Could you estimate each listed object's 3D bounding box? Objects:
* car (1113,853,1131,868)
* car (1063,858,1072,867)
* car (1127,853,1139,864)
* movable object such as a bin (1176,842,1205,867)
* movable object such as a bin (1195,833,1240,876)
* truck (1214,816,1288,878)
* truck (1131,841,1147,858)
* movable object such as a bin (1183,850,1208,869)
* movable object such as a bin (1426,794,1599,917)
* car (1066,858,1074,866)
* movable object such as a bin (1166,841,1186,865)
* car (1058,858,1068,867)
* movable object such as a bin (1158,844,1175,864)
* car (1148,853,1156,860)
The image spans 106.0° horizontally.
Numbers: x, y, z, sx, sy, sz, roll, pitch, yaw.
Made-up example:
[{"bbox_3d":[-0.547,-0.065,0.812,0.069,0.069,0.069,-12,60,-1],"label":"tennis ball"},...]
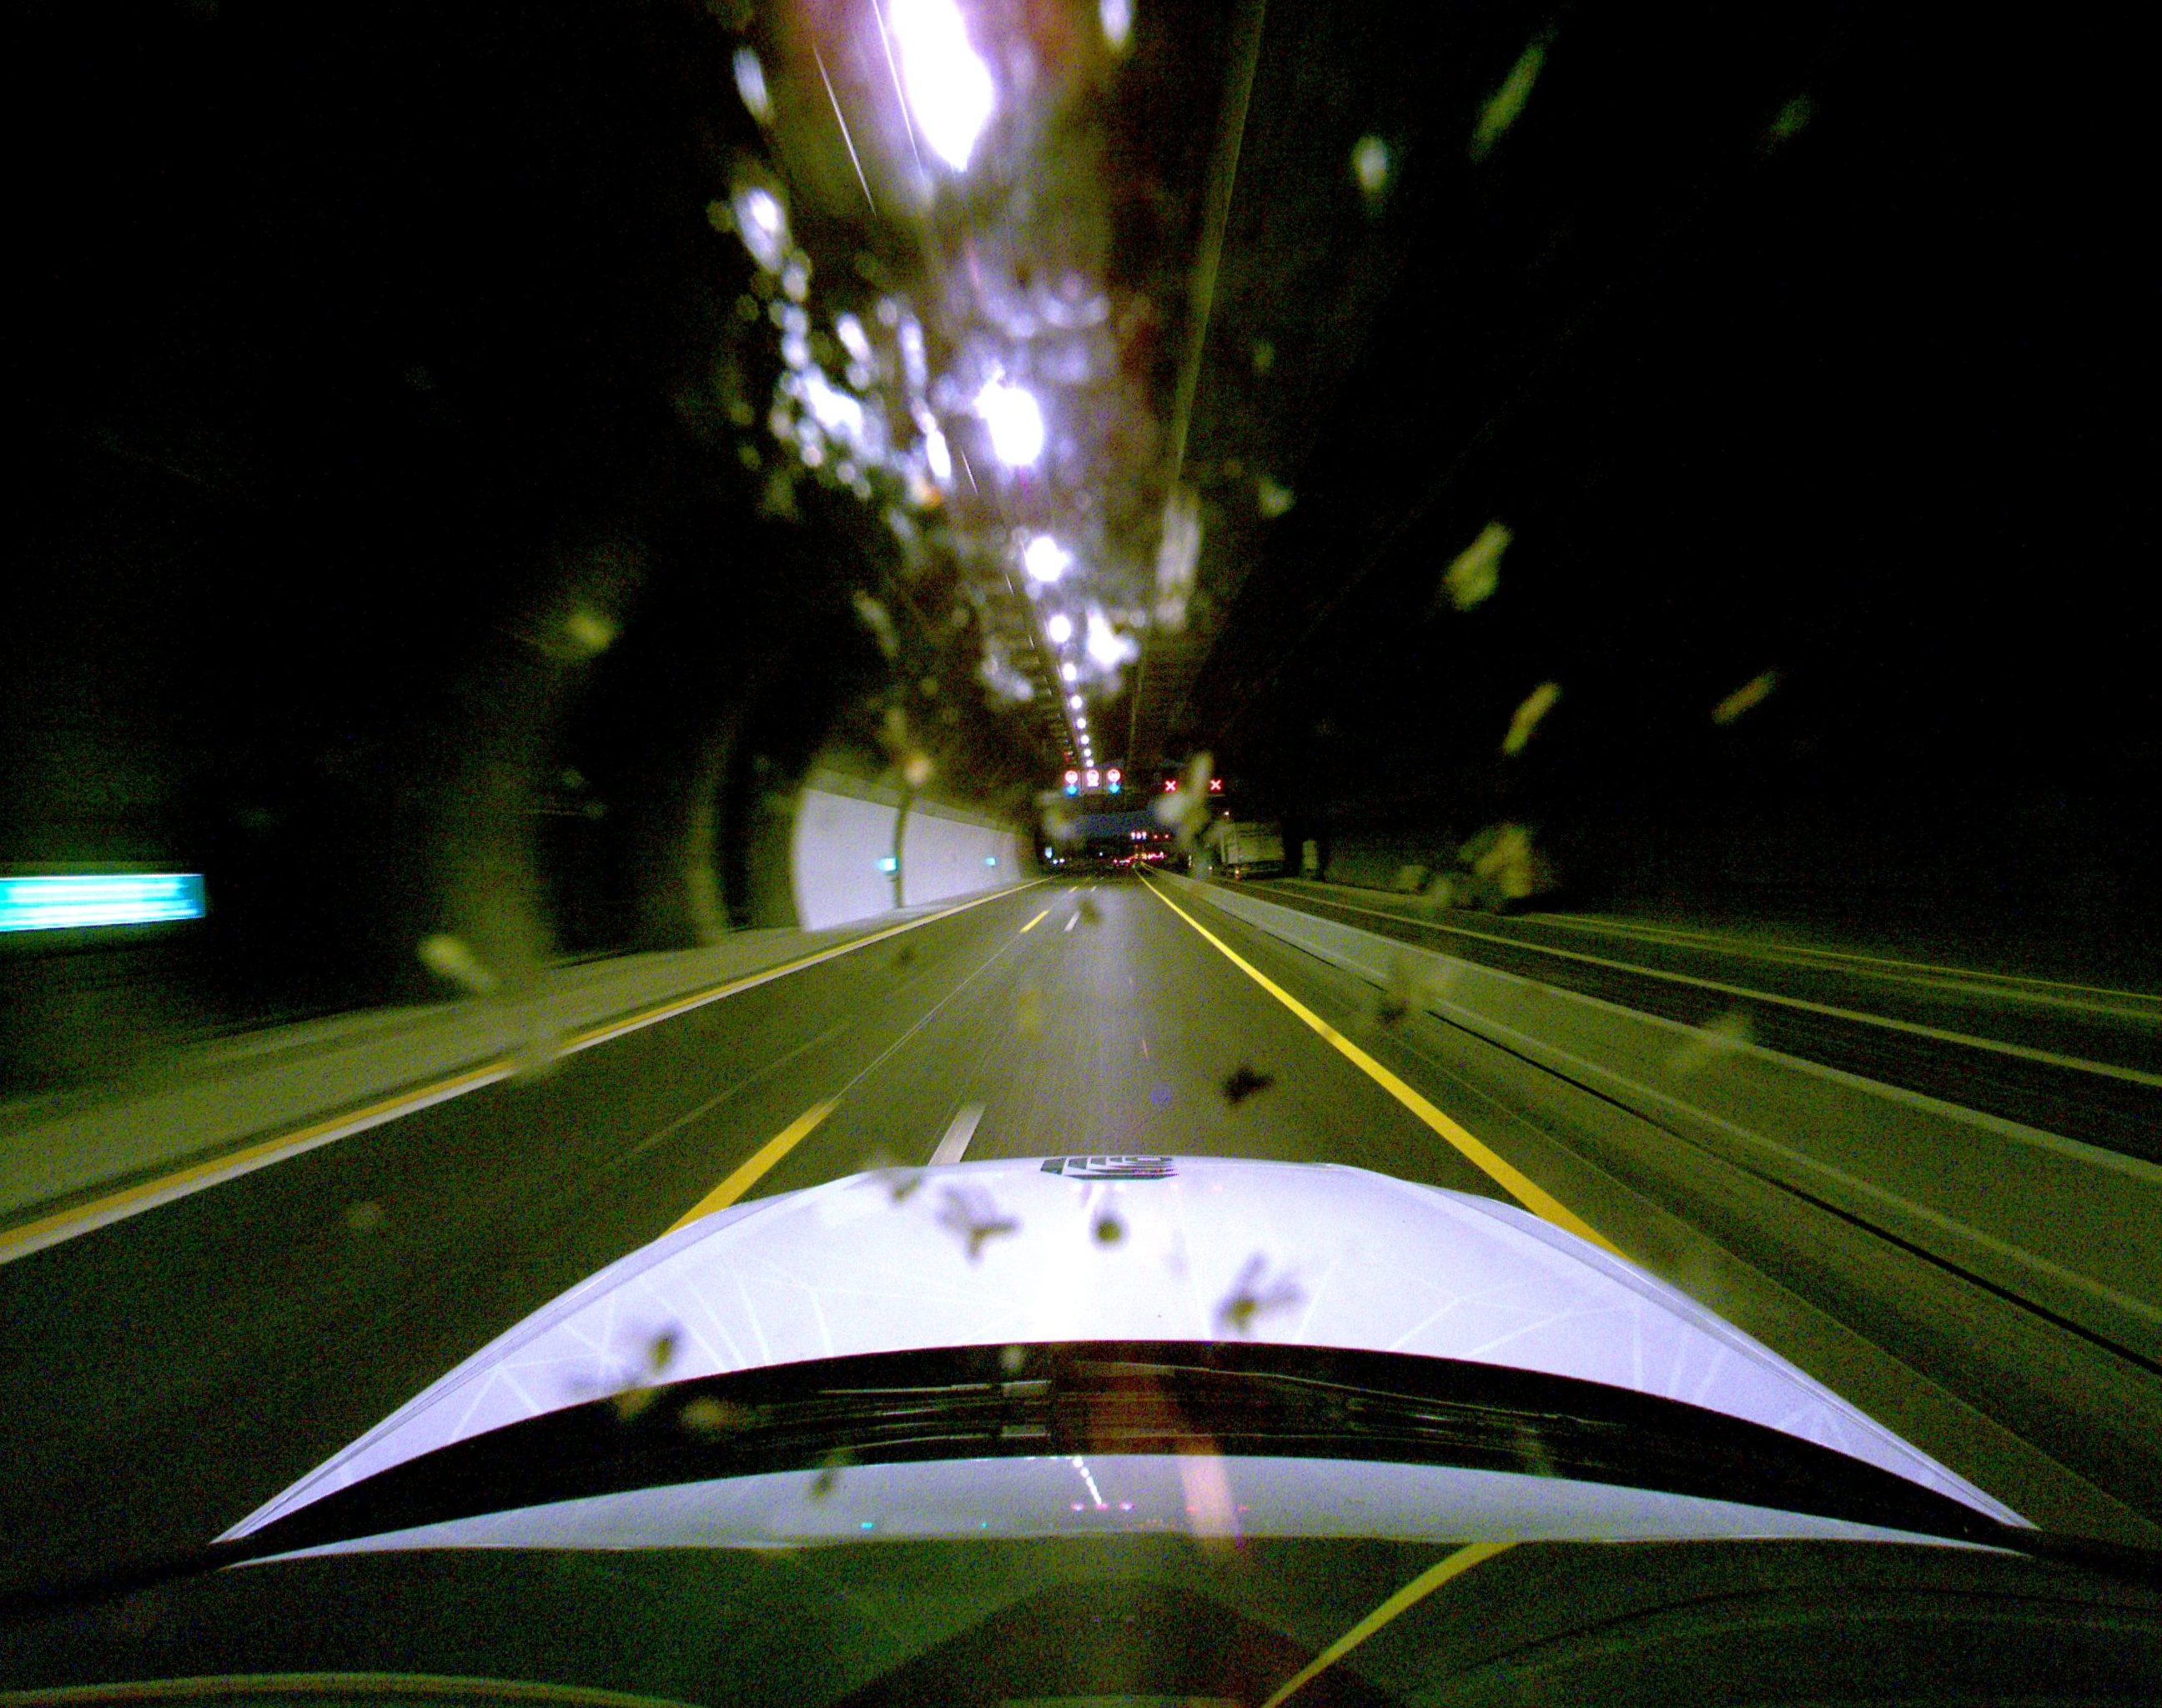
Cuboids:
[{"bbox_3d":[4.407,0.698,87.897,1.880,1.607,4.002,-1,0,2],"label":"car"},{"bbox_3d":[-3.256,2.018,198.891,1.986,2.014,4.002,-1,-1,2],"label":"car"},{"bbox_3d":[9.523,0.804,149.309,1.983,2.013,4.008,-1,0,7],"label":"car"},{"bbox_3d":[12.484,0.074,93.572,2.725,2.754,7.055,-1,0,3],"label":"movable object such as a bin"},{"bbox_3d":[9.513,0.047,57.427,2.229,2.794,7.236,-1,0,2],"label":"movable object such as a bin"},{"bbox_3d":[9.815,-0.351,47.894,2.881,3.272,8.405,-1,0,2],"label":"truck"},{"bbox_3d":[17.339,-1.245,244.263,4.526,4.987,9.607,-1,-1,3],"label":"truck"},{"bbox_3d":[11.350,0.559,80.888,1.971,1.816,3.838,-1,-1,2],"label":"movable object such as a bin"},{"bbox_3d":[9.681,0.039,18.684,1.750,2.380,4.001,-5,-1,1],"label":"movable object such as a bin"},{"bbox_3d":[-2.767,2.062,205.807,1.986,2.014,4.002,-1,-1,2],"label":"car"},{"bbox_3d":[15.478,-0.143,132.915,2.725,3.679,6.339,-1,-1,3],"label":"movable object such as a bin"},{"bbox_3d":[-4.226,1.959,188.814,1.986,2.014,4.002,-1,-1,2],"label":"car"},{"bbox_3d":[15.989,0.033,152.080,2.725,3.455,6.952,-1,-1,3],"label":"movable object such as a bin"},{"bbox_3d":[20.988,0.683,240.991,1.985,2.013,4.004,-1,0,3],"label":"car"}]
